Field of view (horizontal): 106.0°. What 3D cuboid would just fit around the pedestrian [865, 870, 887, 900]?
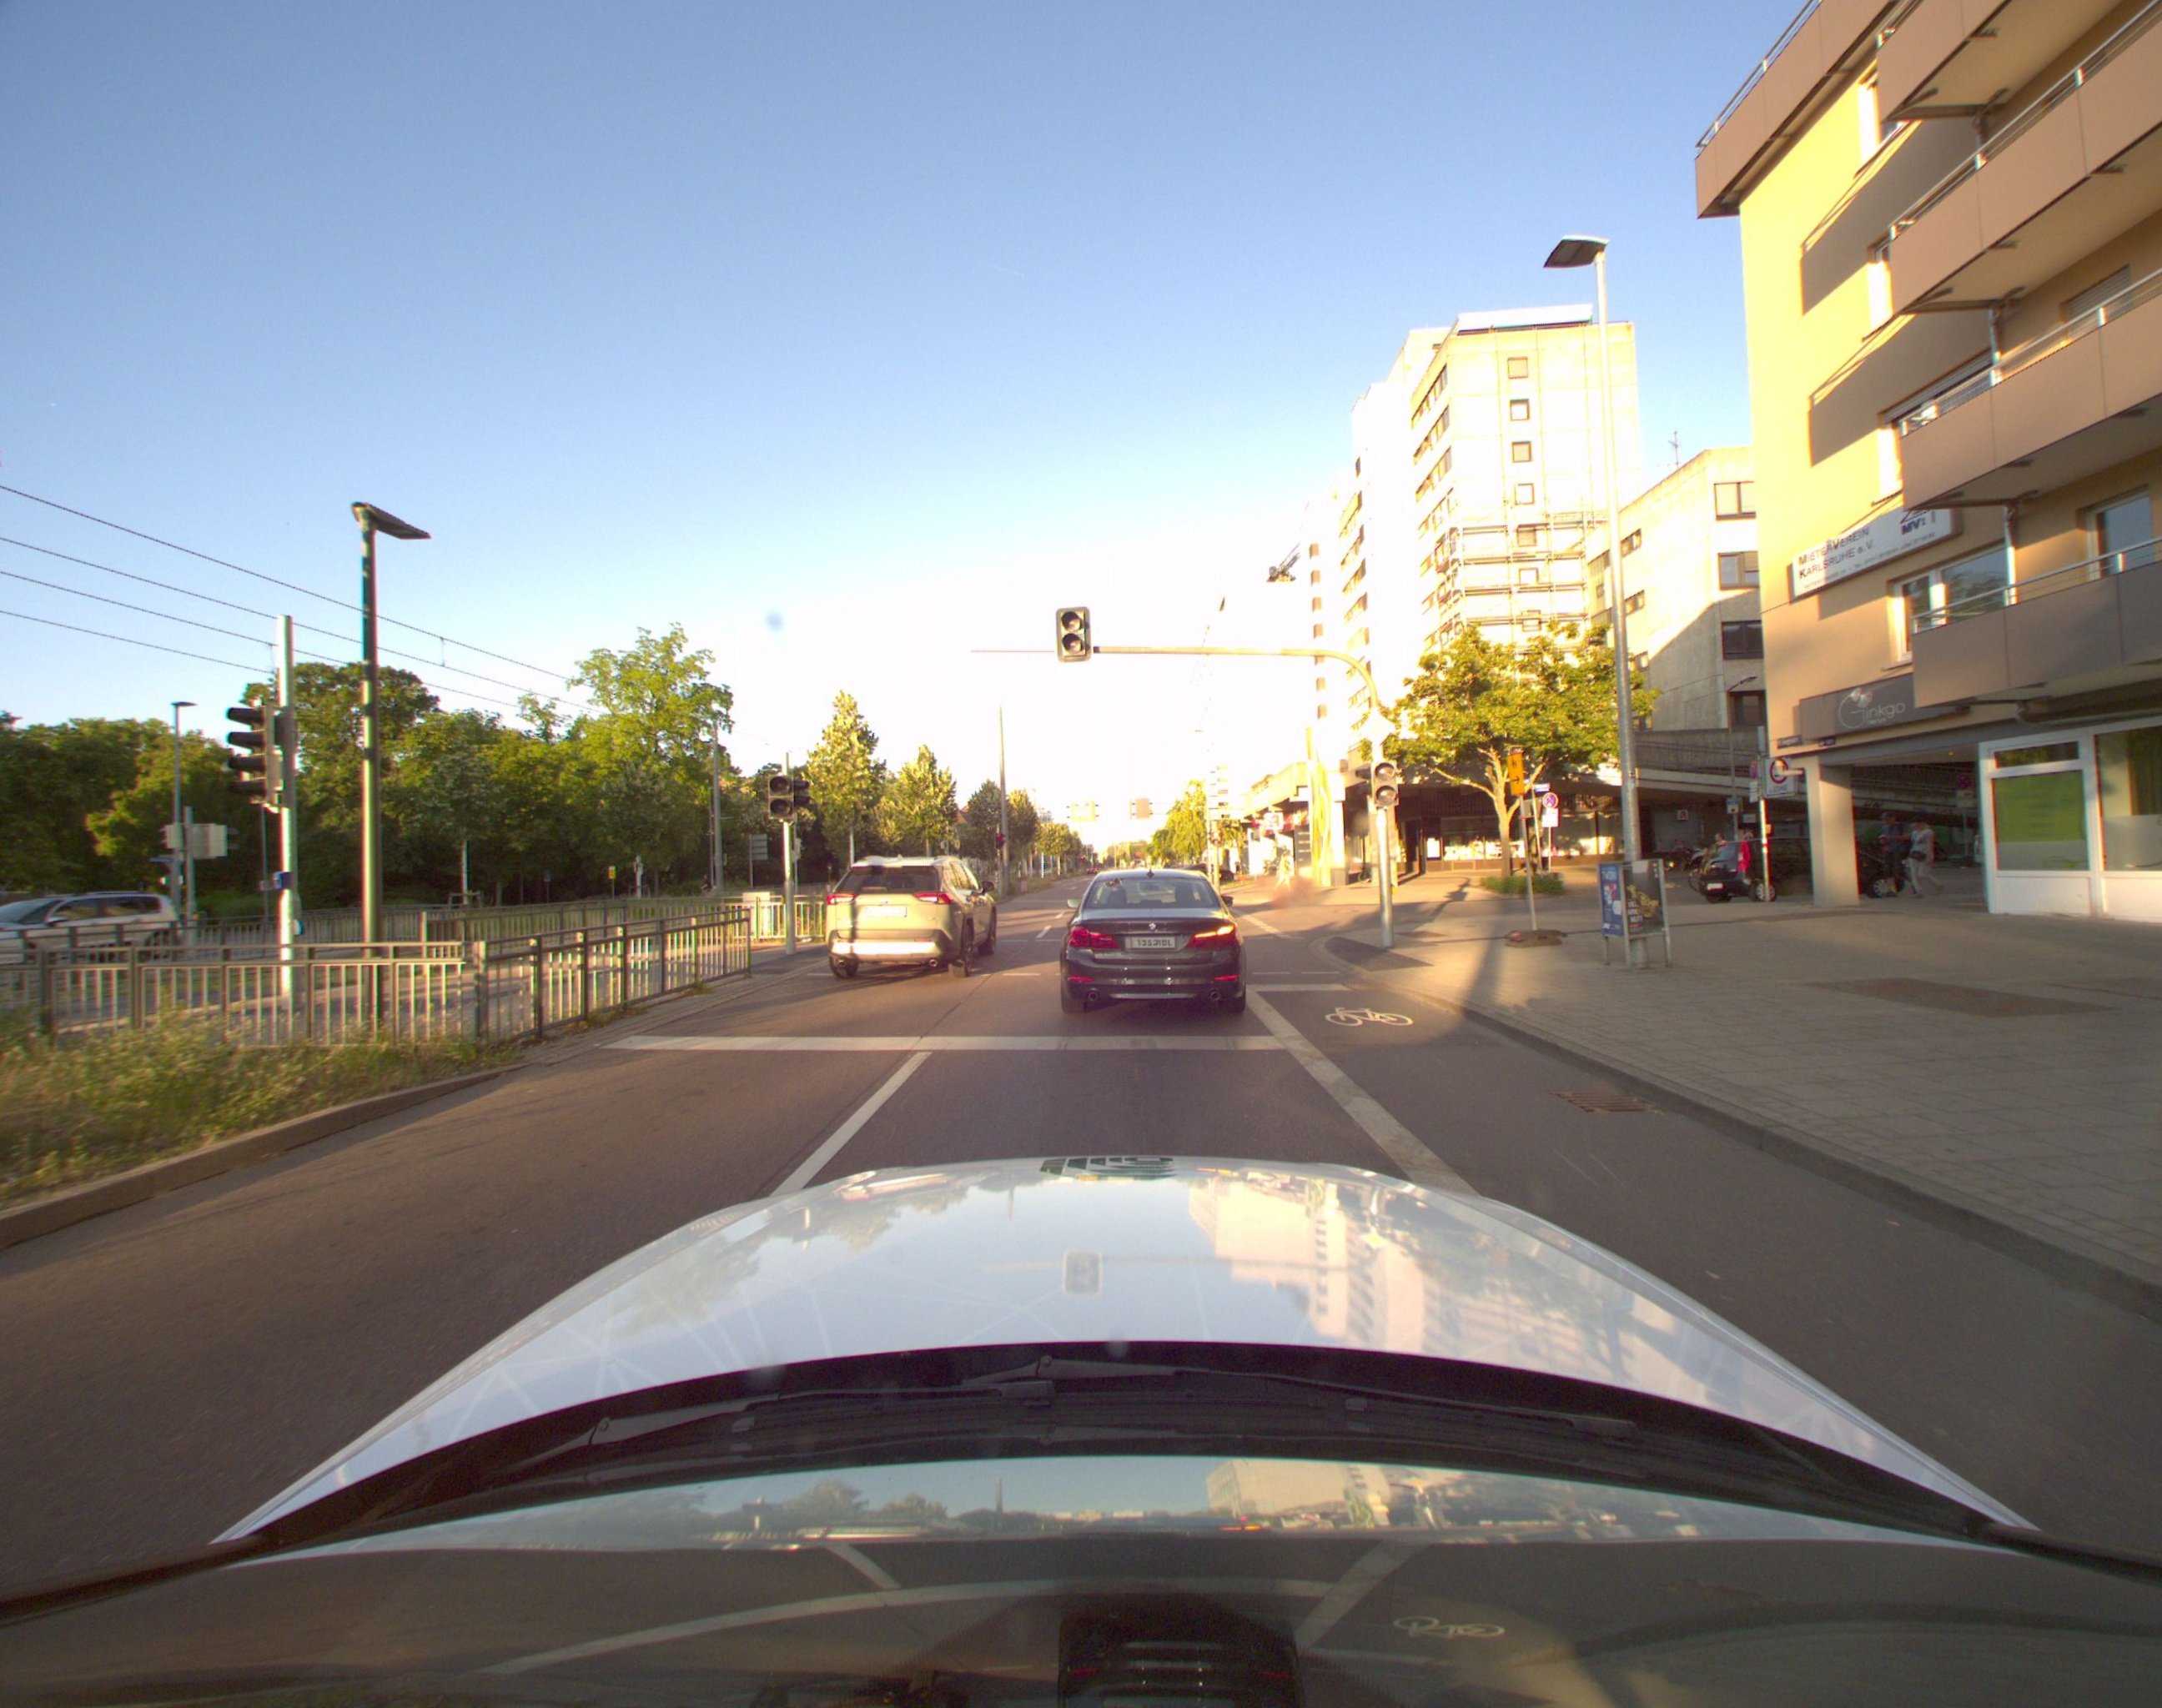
[{"bbox_3d":[-11.362,1.710,45.157,0.829,1.586,0.815,-3,-1,14],"label":"pedestrian"}]

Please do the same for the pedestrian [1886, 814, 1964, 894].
[{"bbox_3d":[17.234,0.004,16.648,0.832,1.586,0.647,-2,-1,0],"label":"pedestrian"}]

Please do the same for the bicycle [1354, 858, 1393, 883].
[{"bbox_3d":[13.883,0.784,38.736,0.690,1.149,2.011,1,-2,-17],"label":"bicycle"}]

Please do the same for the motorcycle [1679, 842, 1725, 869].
[{"bbox_3d":[27.082,0.080,35.549,0.642,1.075,1.879,1,-2,4],"label":"motorcycle"}]

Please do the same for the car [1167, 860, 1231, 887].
[{"bbox_3d":[7.870,1.247,54.062,4.291,1.658,1.838,-1,0,-41],"label":"car"}]

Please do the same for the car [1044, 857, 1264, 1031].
[{"bbox_3d":[0.753,0.809,9.511,1.924,1.481,4.525,-1,0,3],"label":"car"}]

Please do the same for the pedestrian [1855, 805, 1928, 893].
[{"bbox_3d":[17.401,-0.103,17.506,0.829,1.828,0.650,-3,-1,11],"label":"pedestrian"}]

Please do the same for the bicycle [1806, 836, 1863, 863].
[{"bbox_3d":[32.351,-0.189,35.009,0.579,1.075,1.975,1,-2,-2],"label":"bicycle"}]

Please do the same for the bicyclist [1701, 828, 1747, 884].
[{"bbox_3d":[19.836,0.068,25.141,0.815,1.681,0.653,-2,-1,2],"label":"bicyclist"}]

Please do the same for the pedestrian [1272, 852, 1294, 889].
[{"bbox_3d":[9.530,0.784,38.452,0.832,1.712,0.647,-2,-1,0],"label":"pedestrian"}]

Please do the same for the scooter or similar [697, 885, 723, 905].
[{"bbox_3d":[-23.035,2.531,50.581,0.507,1.153,1.342,-3,-1,31],"label":"scooter or similar"}]

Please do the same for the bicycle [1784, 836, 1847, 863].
[{"bbox_3d":[31.751,-0.172,35.218,0.583,1.075,1.963,2,-2,-22],"label":"bicycle"}]

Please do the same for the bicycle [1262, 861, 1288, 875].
[{"bbox_3d":[15.829,1.159,66.343,2.005,1.149,0.692,1,-2,7],"label":"bicycle"}]

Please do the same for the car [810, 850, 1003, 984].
[{"bbox_3d":[-2.398,0.778,12.356,1.847,1.658,4.270,-1,0,2],"label":"car"}]

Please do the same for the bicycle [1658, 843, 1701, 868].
[{"bbox_3d":[26.421,0.084,35.979,0.578,1.075,1.979,1,-2,4],"label":"bicycle"}]

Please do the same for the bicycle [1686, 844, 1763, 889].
[{"bbox_3d":[19.837,0.392,25.130,1.774,1.310,0.653,-2,-1,2],"label":"bicycle"}]

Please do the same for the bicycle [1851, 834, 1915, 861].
[{"bbox_3d":[34.119,-0.273,34.679,0.581,1.075,1.970,1,-2,-10],"label":"bicycle"}]

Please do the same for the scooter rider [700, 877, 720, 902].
[{"bbox_3d":[-23.052,2.208,50.619,0.644,1.514,0.828,-3,-1,31],"label":"scooter rider"}]

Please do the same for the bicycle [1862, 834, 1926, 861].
[{"bbox_3d":[34.745,-0.247,34.841,0.581,1.075,1.970,1,-2,-10],"label":"bicycle"}]

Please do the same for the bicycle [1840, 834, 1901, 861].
[{"bbox_3d":[33.505,-0.275,34.602,0.580,1.075,1.973,1,-2,-5],"label":"bicycle"}]

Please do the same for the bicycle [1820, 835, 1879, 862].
[{"bbox_3d":[32.912,-0.223,34.918,0.579,1.075,1.975,1,-2,-2],"label":"bicycle"}]

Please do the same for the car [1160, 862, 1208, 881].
[{"bbox_3d":[9.690,1.642,76.463,4.285,1.658,1.841,-1,0,-34],"label":"car"}]

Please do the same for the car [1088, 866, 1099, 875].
[{"bbox_3d":[2.239,2.849,144.405,1.971,1.433,4.844,-1,0,2],"label":"car"}]

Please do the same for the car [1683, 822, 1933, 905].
[{"bbox_3d":[16.819,0.267,19.021,4.020,1.586,1.708,-4,-4,5],"label":"car"}]

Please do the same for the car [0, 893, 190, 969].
[{"bbox_3d":[-23.404,1.723,18.626,1.793,1.481,3.785,-2,-1,2],"label":"car"}]

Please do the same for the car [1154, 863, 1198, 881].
[{"bbox_3d":[9.672,1.765,82.594,4.285,1.658,1.841,-1,0,-34],"label":"car"}]
